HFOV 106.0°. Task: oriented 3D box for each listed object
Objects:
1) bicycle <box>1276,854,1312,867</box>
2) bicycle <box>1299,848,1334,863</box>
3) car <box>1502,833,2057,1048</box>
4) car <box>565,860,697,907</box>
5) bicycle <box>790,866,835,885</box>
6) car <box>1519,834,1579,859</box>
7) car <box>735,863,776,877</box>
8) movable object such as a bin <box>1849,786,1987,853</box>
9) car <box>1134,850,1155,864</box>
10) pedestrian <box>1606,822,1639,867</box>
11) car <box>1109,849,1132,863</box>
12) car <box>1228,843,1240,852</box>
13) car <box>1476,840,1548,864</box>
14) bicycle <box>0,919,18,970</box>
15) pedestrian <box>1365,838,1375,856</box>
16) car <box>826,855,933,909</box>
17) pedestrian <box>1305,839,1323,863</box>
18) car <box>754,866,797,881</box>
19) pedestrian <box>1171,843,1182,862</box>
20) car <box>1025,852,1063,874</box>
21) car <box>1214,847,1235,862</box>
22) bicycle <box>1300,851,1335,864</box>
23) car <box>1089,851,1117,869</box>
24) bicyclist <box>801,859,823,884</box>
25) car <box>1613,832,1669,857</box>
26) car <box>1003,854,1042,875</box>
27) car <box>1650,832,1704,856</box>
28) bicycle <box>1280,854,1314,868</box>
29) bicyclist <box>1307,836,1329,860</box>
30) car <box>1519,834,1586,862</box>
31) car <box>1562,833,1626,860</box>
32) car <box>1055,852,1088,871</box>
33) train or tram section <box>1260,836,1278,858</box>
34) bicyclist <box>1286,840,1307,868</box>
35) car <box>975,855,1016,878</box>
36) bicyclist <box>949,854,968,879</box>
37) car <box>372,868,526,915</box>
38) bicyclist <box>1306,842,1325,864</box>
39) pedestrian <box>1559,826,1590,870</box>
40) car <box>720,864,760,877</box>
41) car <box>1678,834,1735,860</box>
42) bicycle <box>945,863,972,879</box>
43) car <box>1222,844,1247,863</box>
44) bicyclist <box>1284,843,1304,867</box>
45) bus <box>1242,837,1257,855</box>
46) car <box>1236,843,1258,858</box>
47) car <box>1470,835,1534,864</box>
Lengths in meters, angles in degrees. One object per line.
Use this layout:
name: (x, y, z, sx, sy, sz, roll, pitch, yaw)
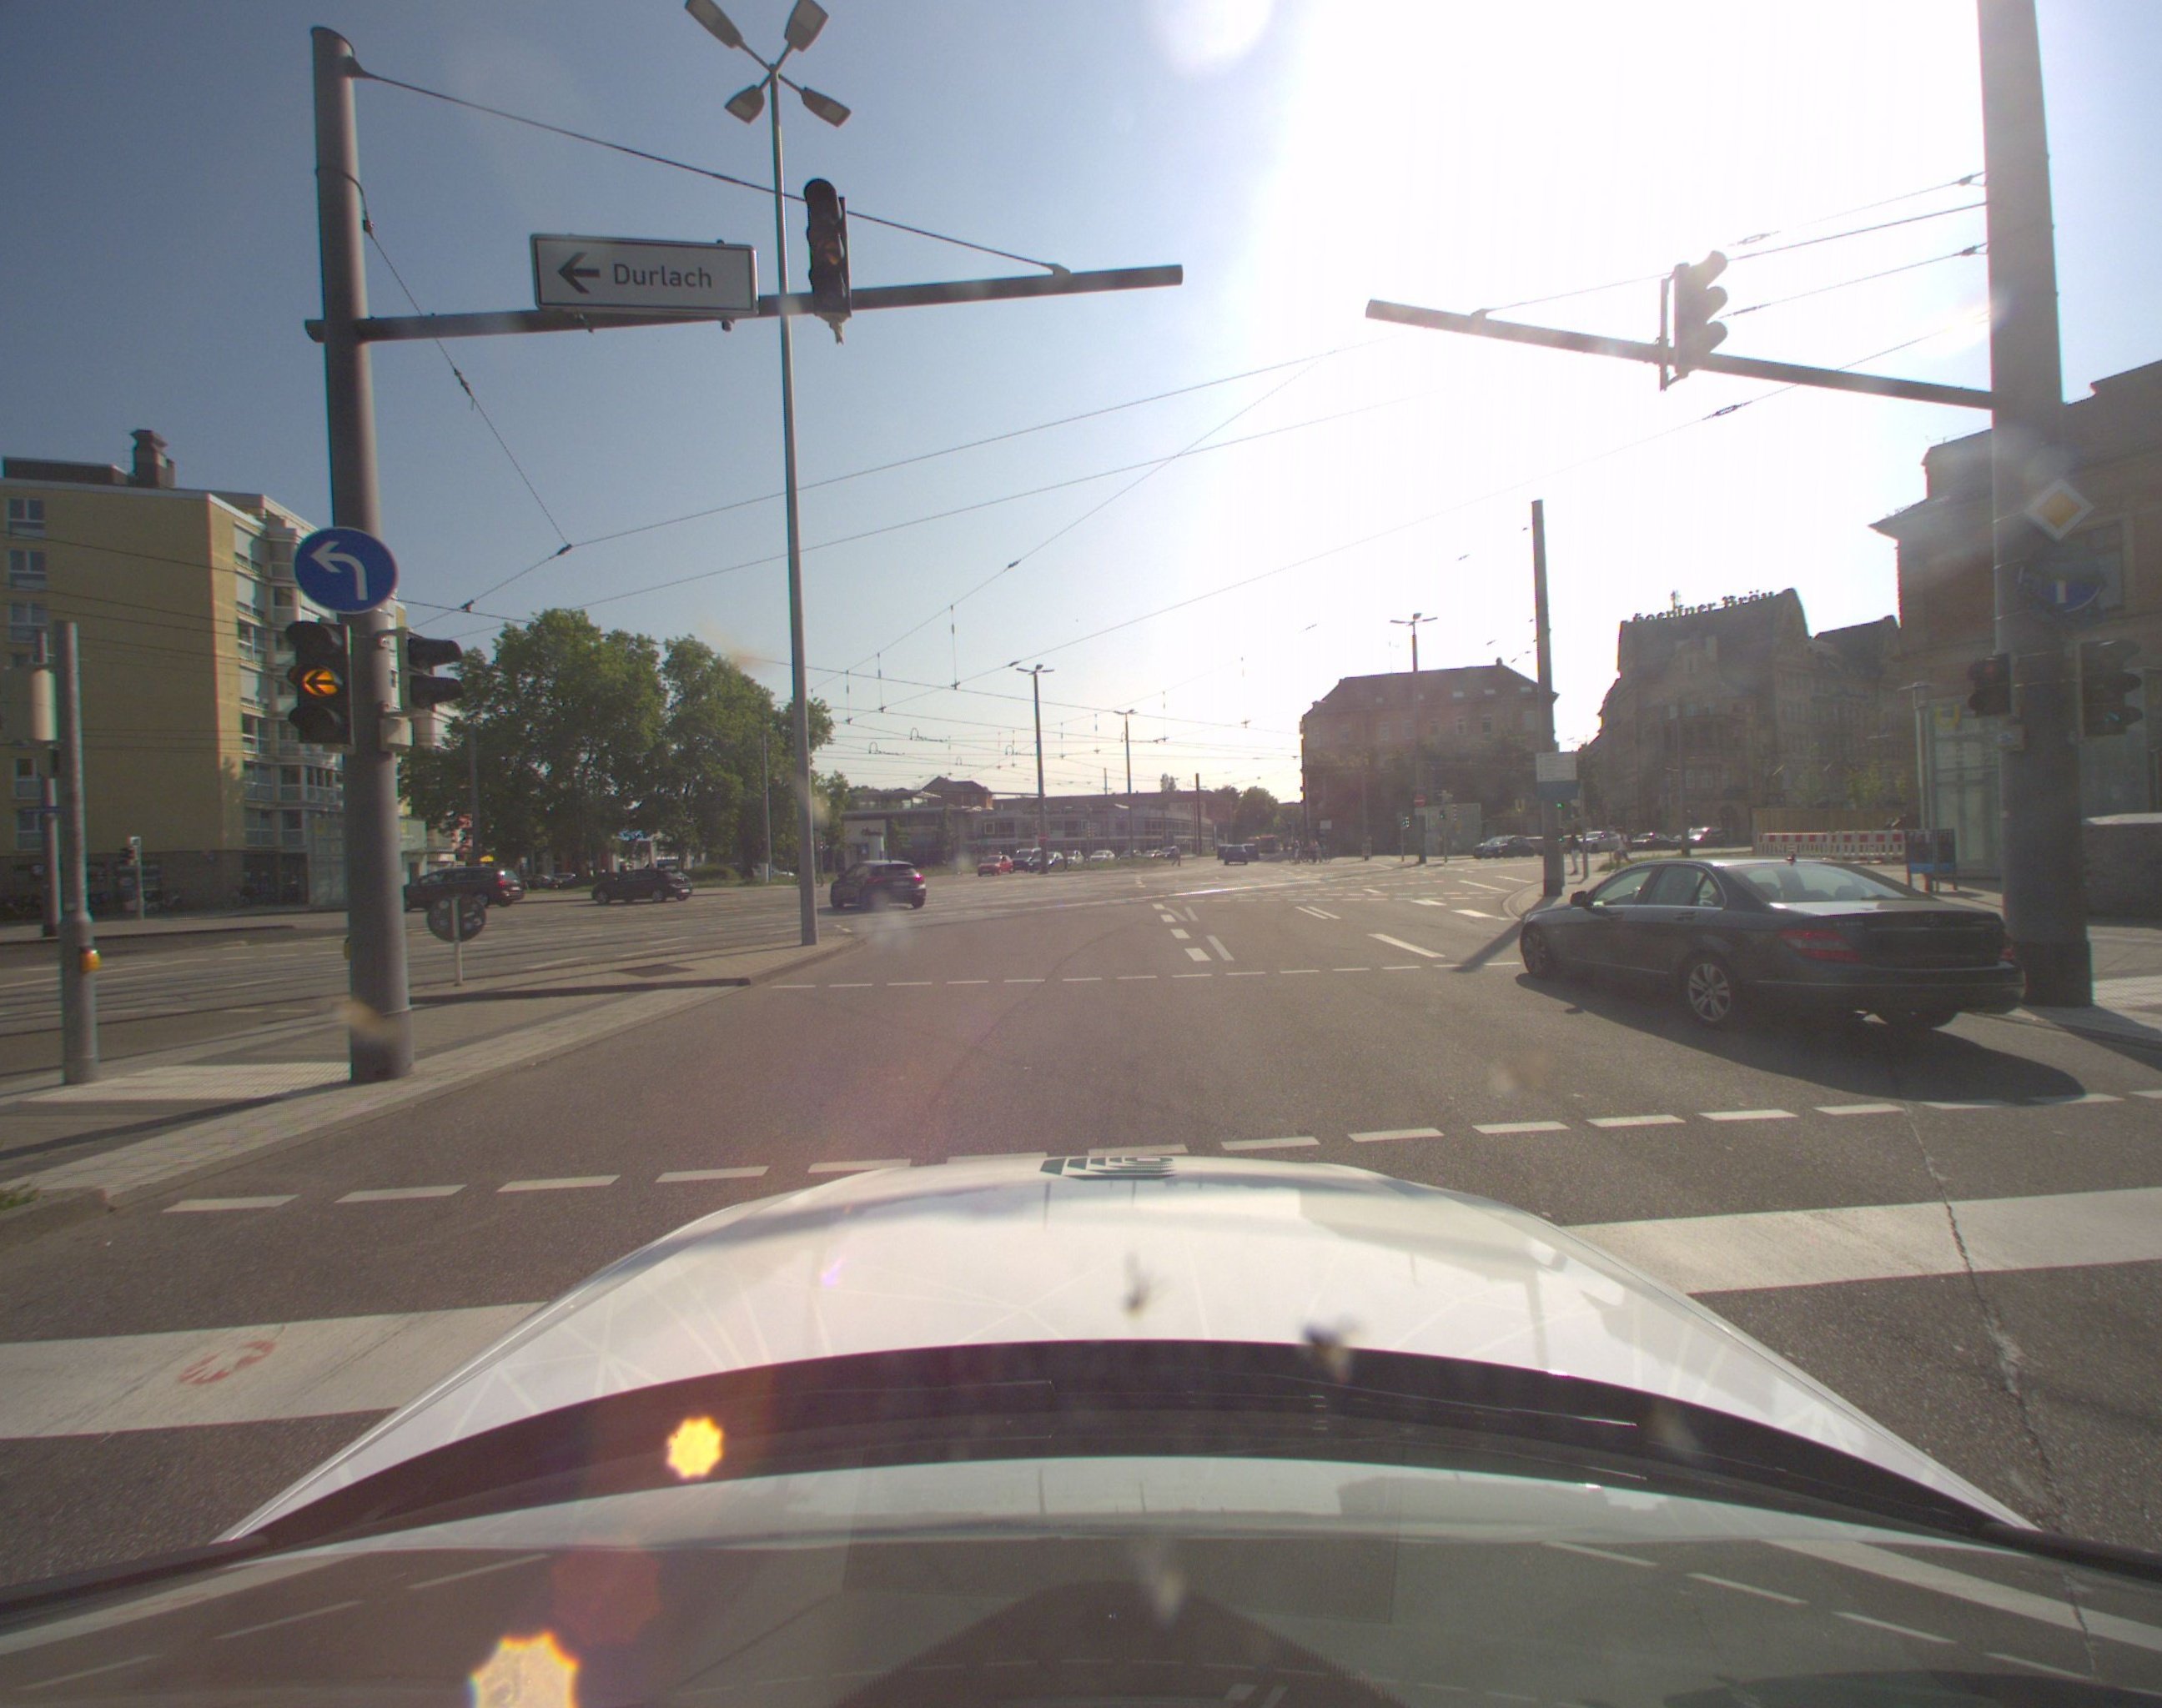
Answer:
bicycle: (16.633, 0.511, 63.529, 2.631, 0.964, 1.084, -2, 0, -25)
bicycle: (17.191, 0.104, 59.380, 2.639, 0.964, 1.081, -2, 0, -38)
car: (6.009, 0.595, 7.878, 1.676, 1.442, 4.374, -2, 0, 2)
car: (-18.342, 1.214, 33.393, 4.366, 1.492, 1.679, -5, -3, -15)
bicycle: (-16.758, 1.316, 50.917, 2.604, 1.057, 0.956, -2, 0, -15)
car: (38.530, -0.617, 67.045, 4.274, 1.859, 1.919, -2, 0, -20)
car: (-39.743, 1.887, 99.539, 1.683, 1.522, 4.543, -2, 0, 31)
movable object such as a bin: (34.284, -1.417, 33.265, 8.010, 2.442, 2.427, -2, 0, -33)
car: (7.798, 0.355, 99.847, 1.602, 1.475, 4.017, -4, -1, 16)
pedestrian: (20.919, -0.356, 31.446, 0.910, 1.690, 0.931, -2, 0, 39)
car: (4.491, 0.240, 92.819, 1.602, 1.475, 4.017, -4, -1, 16)
car: (28.312, -1.192, 150.750, 1.602, 1.475, 4.017, -4, -1, 16)
car: (28.081, -0.128, 53.045, 4.399, 1.397, 2.005, -2, 0, -28)
bicycle: (-21.094, 1.733, 14.973, 1.814, 0.932, 0.723, -2, 0, -12)
pedestrian: (24.634, -0.600, 69.431, 0.672, 1.471, 0.540, -2, 0, -45)
car: (-6.268, 0.808, 24.962, 1.844, 1.435, 4.504, -2, 0, -32)
pedestrian: (17.887, -0.254, 62.494, 0.933, 1.797, 0.849, -2, 0, -41)
car: (-33.502, 2.129, 89.319, 4.067, 1.522, 1.707, -2, 0, 4)
pedestrian: (7.521, -0.109, 64.016, 0.775, 1.503, 0.710, -2, 0, 1)
car: (-2.772, 0.672, 62.083, 1.602, 1.475, 4.016, -4, -1, 15)
car: (15.832, 0.006, 89.658, 1.811, 1.535, 4.431, -2, 0, 16)
bicycle: (18.931, 0.271, 65.127, 2.631, 0.964, 1.084, -2, 0, -25)
car: (2.086, 0.546, 77.543, 1.602, 1.475, 4.017, -4, -1, 16)
bicyclist: (-16.804, 1.072, 50.871, 1.164, 1.527, 0.956, -2, 0, -14)
car: (44.458, -0.761, 64.629, 4.261, 1.859, 1.892, -2, 0, -28)
car: (-4.782, 0.843, 67.259, 1.946, 1.475, 4.016, -4, -1, 15)
car: (49.404, -0.841, 67.511, 4.261, 1.859, 1.892, -2, 0, -28)
bicycle: (16.242, 0.528, 61.249, 2.639, 0.964, 1.081, -2, 0, -38)
bicyclist: (17.310, -0.434, 59.495, 0.941, 1.708, 1.080, -2, 0, -37)
car: (34.205, -0.411, 59.078, 4.719, 1.859, 1.894, -2, 0, -26)
car: (38.722, -0.591, 61.433, 4.677, 1.859, 2.027, -2, 0, -28)
car: (-0.772, 0.603, 68.549, 1.602, 1.475, 4.016, -4, -1, 15)
train or tram section: (33.361, -1.235, 144.263, 2.635, 3.699, 10.633, -2, 0, 15)
bicyclist: (16.185, -0.014, 61.225, 0.941, 2.024, 1.080, -2, 0, -37)
car: (-6.232, 0.872, 59.987, 1.602, 1.475, 4.016, -4, -1, 15)
bicyclist: (-9.025, 0.920, 60.013, 0.950, 1.748, 1.171, -2, 0, 16)
car: (-26.046, 1.491, 33.756, 4.543, 1.678, 1.990, -2, 0, -15)
bicyclist: (18.743, -0.090, 65.040, 0.938, 1.680, 1.084, -2, 0, -24)
pedestrian: (19.815, -0.242, 32.701, 0.910, 1.690, 0.843, -2, 0, 37)
car: (-42.771, 2.061, 102.185, 1.683, 1.522, 4.543, -2, 0, 31)
car: (48.026, -0.561, 62.509, 4.079, 1.859, 1.893, -2, 0, -28)
bicycle: (-9.002, 1.260, 60.059, 0.950, 1.057, 2.619, -2, 0, 16)
car: (12.304, -0.056, 65.132, 1.814, 1.428, 4.426, -2, 0, 11)
bicyclist: (16.603, 0.090, 63.520, 0.938, 1.799, 1.084, -2, 0, -24)
bus: (35.896, -1.618, 174.113, 2.902, 3.619, 16.798, -2, 0, 11)
car: (16.667, -0.366, 81.585, 1.812, 1.428, 4.429, -2, 0, 14)
car: (29.612, -0.310, 57.295, 4.261, 1.859, 1.892, -2, 0, -28)
